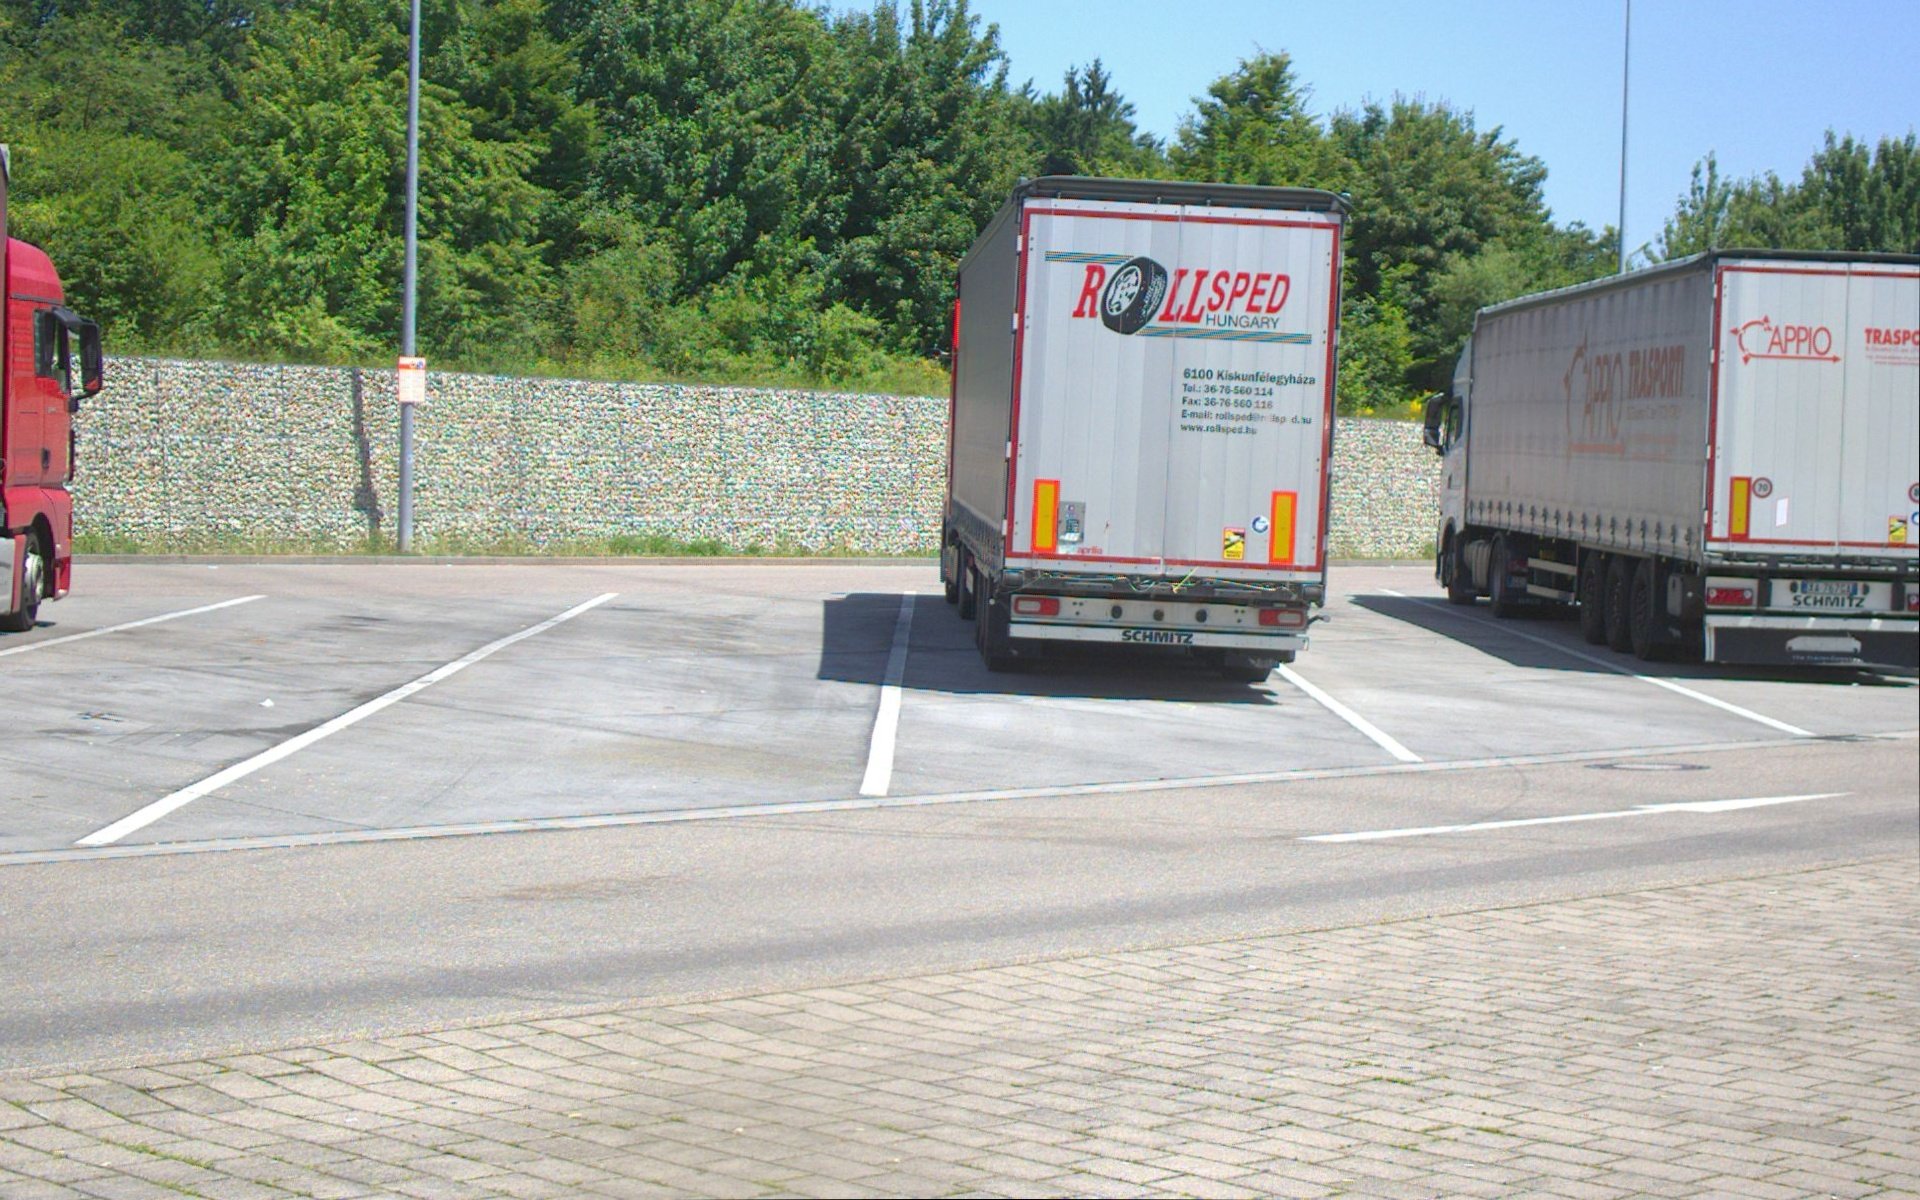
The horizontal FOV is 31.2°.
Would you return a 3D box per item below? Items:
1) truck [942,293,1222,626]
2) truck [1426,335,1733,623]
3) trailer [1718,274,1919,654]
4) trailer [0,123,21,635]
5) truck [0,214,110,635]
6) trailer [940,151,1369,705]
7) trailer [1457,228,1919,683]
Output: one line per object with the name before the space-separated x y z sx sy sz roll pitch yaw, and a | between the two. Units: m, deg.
truck | 1.297 -1.628 39.796 2.852 3.472 5.483 2 2 -1
truck | 8.072 -1.622 45.484 2.852 3.472 5.483 2 2 -1
trailer | 11.800 -1.526 39.422 2.838 4.118 13.724 2 3 -1
trailer | -9.145 -1.490 21.290 2.906 4.118 13.725 2 3 -1
truck | -9.233 -1.506 28.729 2.852 3.416 5.483 2 2 -1
trailer | 1.444 -1.620 33.183 2.906 4.118 13.725 2 3 -1
trailer | 8.163 -1.624 38.671 2.838 4.118 13.724 2 3 -1
